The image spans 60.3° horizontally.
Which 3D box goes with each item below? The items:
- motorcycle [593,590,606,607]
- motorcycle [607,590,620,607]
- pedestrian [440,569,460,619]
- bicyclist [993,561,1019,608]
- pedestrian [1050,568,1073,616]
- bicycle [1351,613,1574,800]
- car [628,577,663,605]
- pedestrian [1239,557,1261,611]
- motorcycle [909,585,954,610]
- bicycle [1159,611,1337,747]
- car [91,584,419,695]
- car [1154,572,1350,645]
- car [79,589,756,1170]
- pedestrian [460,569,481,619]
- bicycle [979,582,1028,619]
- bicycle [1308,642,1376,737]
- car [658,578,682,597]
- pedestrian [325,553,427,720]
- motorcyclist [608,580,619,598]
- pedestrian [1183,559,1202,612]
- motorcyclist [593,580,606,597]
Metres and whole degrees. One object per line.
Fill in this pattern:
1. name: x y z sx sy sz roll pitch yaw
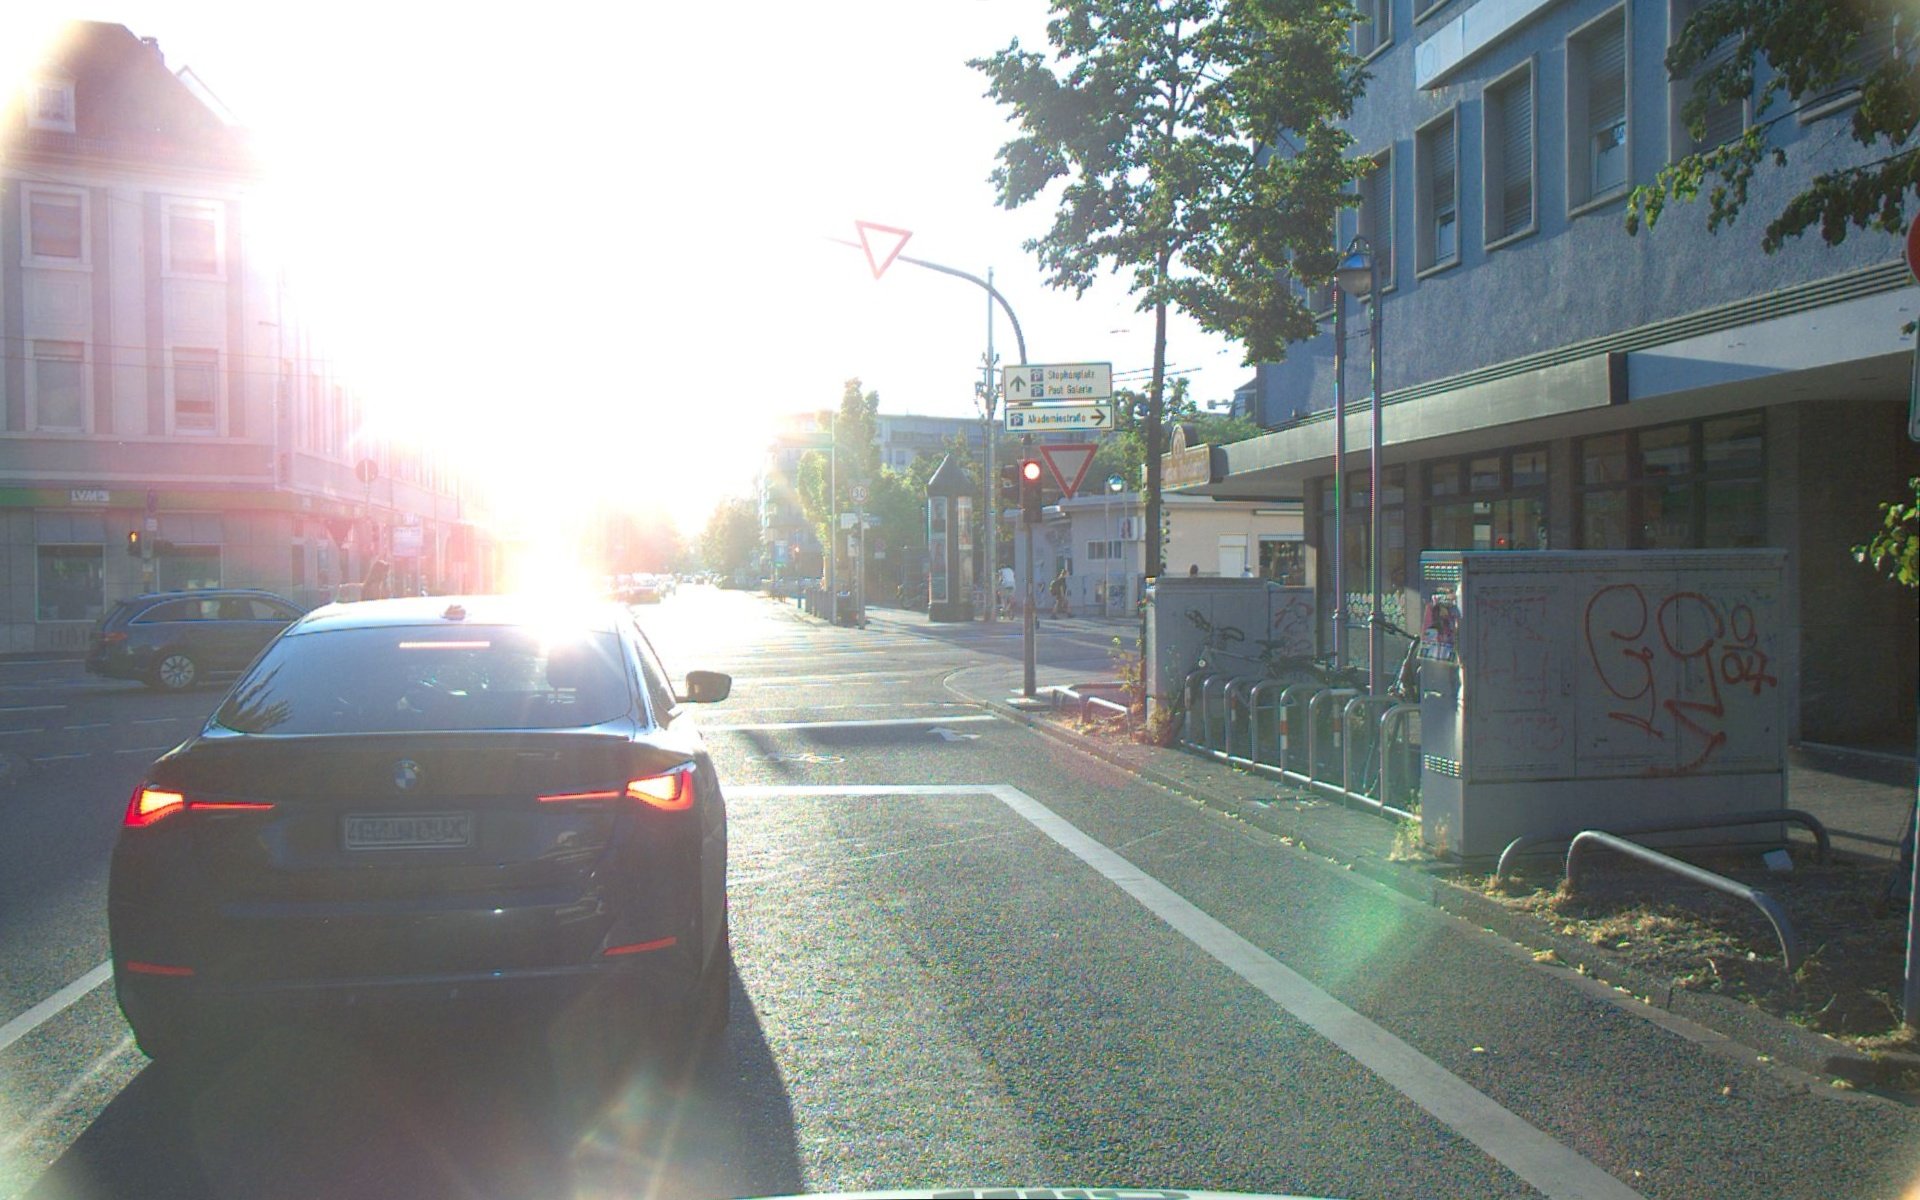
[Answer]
1. motorcycle: -20.432 -0.111 93.819 0.564 0.931 2.196 1 0 -8
2. motorcycle: -19.580 -0.093 93.446 0.564 0.931 2.196 1 0 -8
3. pedestrian: -19.711 -0.245 63.948 0.631 1.909 0.631 1 0 -9
4. bicyclist: 1.489 -0.501 54.028 0.545 1.507 0.714 1 0 -33
5. pedestrian: 3.293 -0.256 53.790 0.717 1.555 0.473 1 0 3
6. bicycle: 3.433 0.720 11.317 1.413 1.241 0.383 1 0 -8
7. car: -17.904 -0.528 94.388 1.784 1.545 3.992 -1 1 -9
8. pedestrian: 9.629 -0.525 54.990 0.474 1.765 0.525 1 0 -34
9. motorcycle: -1.166 -0.107 67.834 1.644 0.955 0.851 -1 1 -20
10. bicycle: 2.639 0.714 15.175 1.582 1.191 0.318 -1 1 -7
11. car: -10.710 0.542 25.233 4.368 1.499 1.796 -1 1 -34
12. car: 6.654 0.160 37.560 4.270 1.524 1.976 -1 1 -35
13. car: -1.748 0.700 6.430 1.705 1.453 4.214 0 1 -10
14. pedestrian: -19.014 -0.236 64.251 0.663 1.909 0.617 1 0 -6
15. bicycle: 1.411 0.001 54.144 0.545 1.179 2.120 1 0 -32
16. bicycle: 3.555 0.821 15.425 0.244 0.810 1.114 1 0 -7
17. car: -23.992 -1.027 136.789 1.784 1.545 3.992 -1 1 -9
18. pedestrian: -6.874 0.406 19.471 0.990 1.893 0.634 -2 1 -29
19. motorcyclist: -19.555 -0.633 93.345 0.564 1.013 0.701 1 0 -9
20. pedestrian: 7.828 -0.488 55.597 0.438 1.765 0.429 1 0 -34
21. motorcyclist: -20.428 -0.652 93.837 0.564 0.931 2.196 1 0 -8
